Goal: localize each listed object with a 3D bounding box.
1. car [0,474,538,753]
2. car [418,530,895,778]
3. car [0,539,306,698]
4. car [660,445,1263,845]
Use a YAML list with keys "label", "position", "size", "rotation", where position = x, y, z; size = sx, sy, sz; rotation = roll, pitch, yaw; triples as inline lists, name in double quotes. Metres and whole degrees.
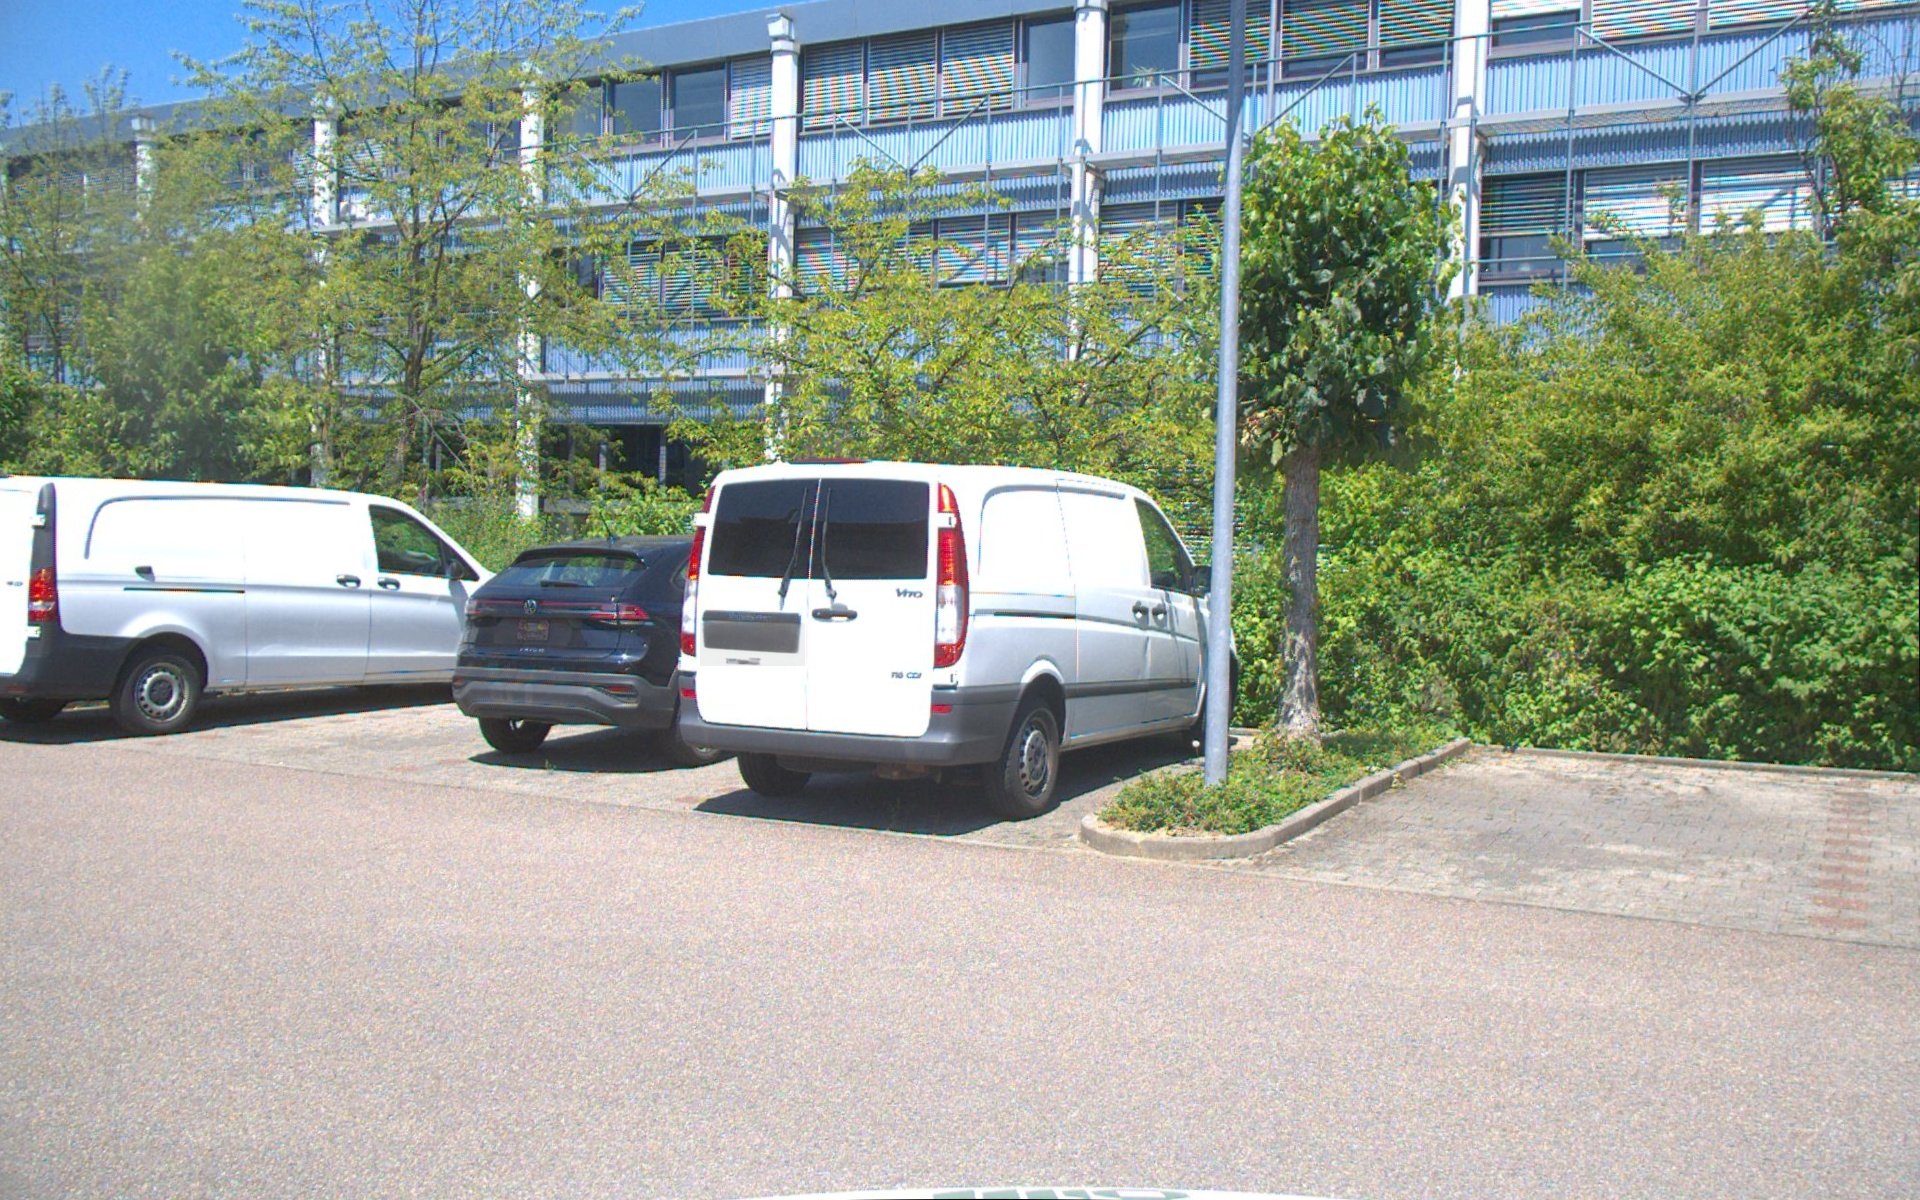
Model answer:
- label: "car"
  position: [-5.951, -0.015, 13.905]
  size: [1.846, 1.923, 4.795]
  rotation: [1, 3, 30]
- label: "car"
  position: [-2.016, 0.247, 12.267]
  size: [1.718, 1.501, 4.002]
  rotation: [0, 3, 19]
- label: "car"
  position: [-8.904, 0.119, 16.794]
  size: [1.750, 1.466, 3.992]
  rotation: [1, 2, 31]
- label: "car"
  position: [0.324, 0.117, 10.580]
  size: [1.876, 1.938, 4.803]
  rotation: [1, 2, 27]
